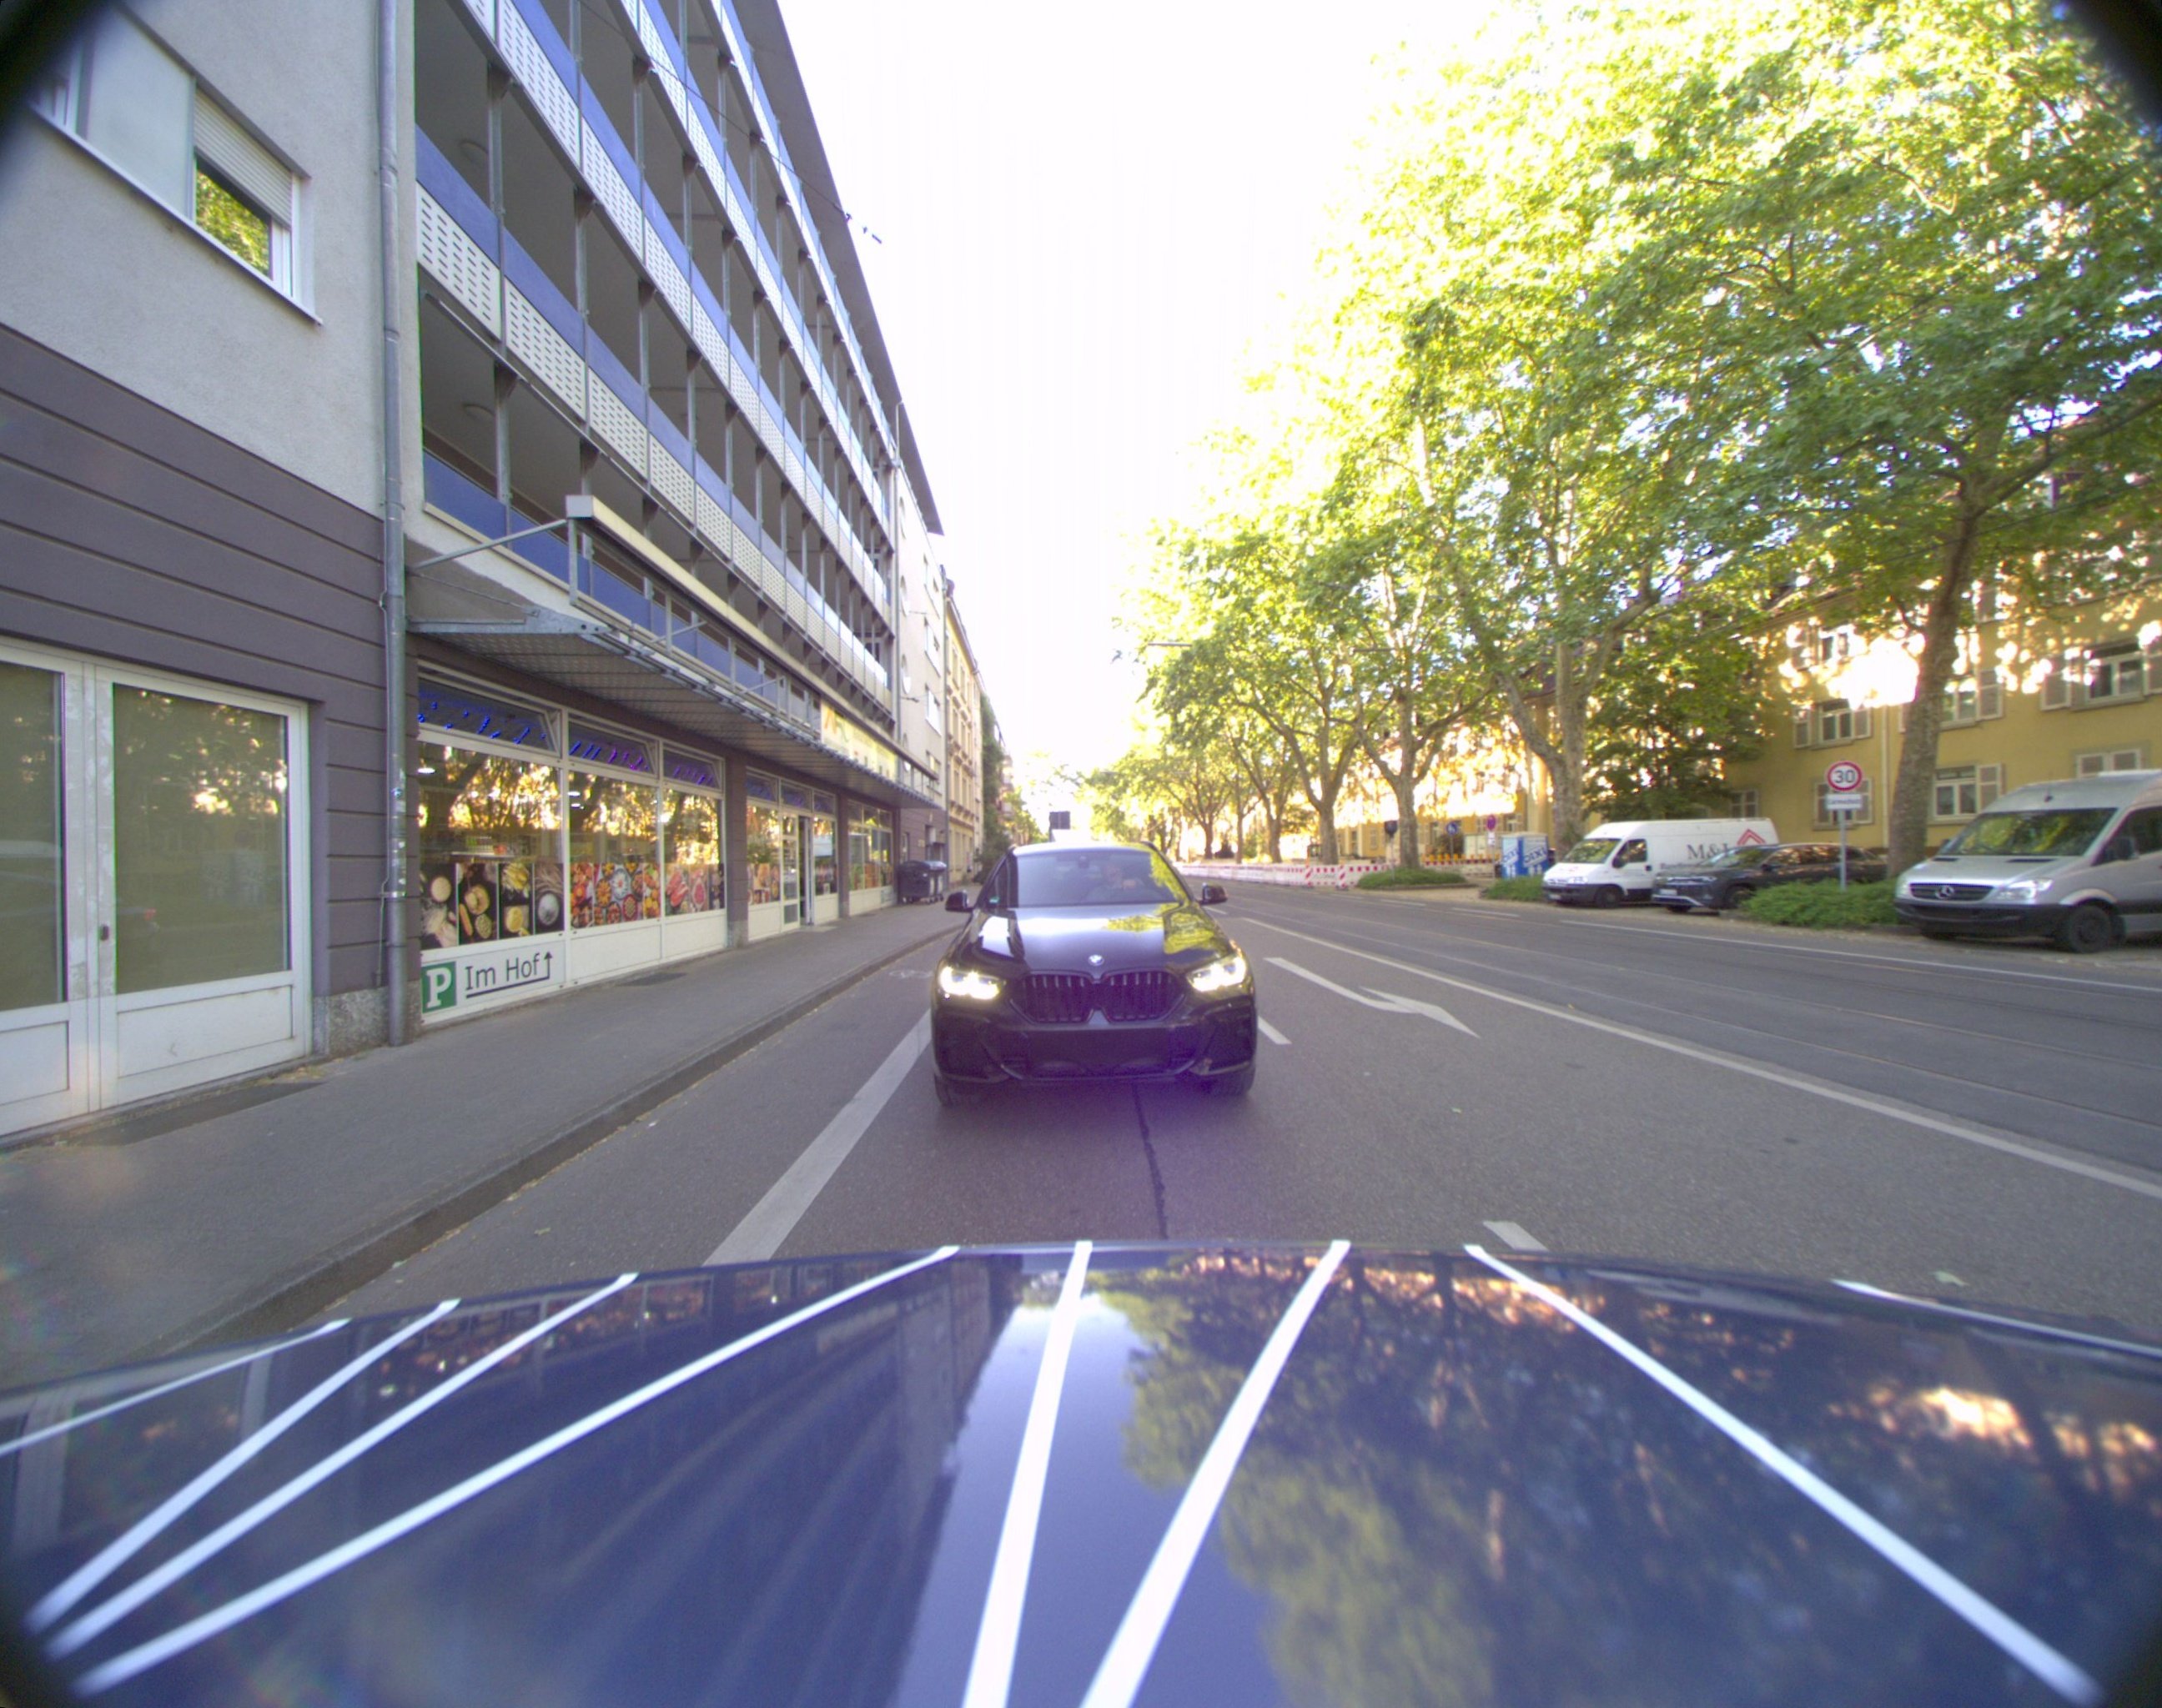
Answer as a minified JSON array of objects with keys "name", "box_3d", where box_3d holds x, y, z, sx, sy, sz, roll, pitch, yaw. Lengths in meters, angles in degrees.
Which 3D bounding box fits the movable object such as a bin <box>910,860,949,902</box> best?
[{"name":"movable object such as a bin","box_3d":[-5.297,0.946,26.683,1.158,1.418,0.939,-1,0,1]}]

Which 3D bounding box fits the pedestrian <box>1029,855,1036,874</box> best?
[{"name":"pedestrian","box_3d":[-4.720,1.018,73.680,0.600,1.875,0.581,-2,1,-1]}]

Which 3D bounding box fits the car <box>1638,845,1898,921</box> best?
[{"name":"car","box_3d":[16.077,0.652,17.940,4.627,1.642,1.774,-1,0,-2]}]

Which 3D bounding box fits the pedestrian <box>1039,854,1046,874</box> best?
[{"name":"pedestrian","box_3d":[-3.715,0.987,72.996,0.600,1.875,0.581,-2,1,-1]}]

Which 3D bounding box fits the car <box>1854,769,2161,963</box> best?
[{"name":"car","box_3d":[15.984,0.123,11.857,5.666,2.666,2.223,-2,0,-2]}]

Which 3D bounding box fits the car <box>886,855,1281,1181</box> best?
[{"name":"car","box_3d":[0.043,0.852,6.040,1.998,1.643,4.295,-1,0,1]}]

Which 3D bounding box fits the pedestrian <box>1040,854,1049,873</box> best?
[{"name":"pedestrian","box_3d":[-3.629,0.950,75.648,0.733,1.875,0.664,-2,1,-1]}]

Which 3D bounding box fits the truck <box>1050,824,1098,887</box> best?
[{"name":"truck","box_3d":[-0.317,0.112,42.121,2.394,3.170,6.587,-1,0,1]}]

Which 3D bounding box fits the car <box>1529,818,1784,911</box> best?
[{"name":"car","box_3d":[15.844,0.284,21.147,5.404,2.362,2.223,-1,0,0]}]

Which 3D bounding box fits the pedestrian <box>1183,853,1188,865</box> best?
[{"name":"pedestrian","box_3d":[16.320,0.762,118.646,0.732,1.875,0.665,-2,1,5]}]

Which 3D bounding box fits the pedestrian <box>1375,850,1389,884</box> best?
[{"name":"pedestrian","box_3d":[15.672,0.652,39.619,0.582,1.735,0.653,-2,1,18]}]

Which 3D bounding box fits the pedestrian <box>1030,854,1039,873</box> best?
[{"name":"pedestrian","box_3d":[-4.615,0.969,75.603,0.733,1.875,0.664,-2,1,-1]}]

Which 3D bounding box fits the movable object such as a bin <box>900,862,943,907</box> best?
[{"name":"movable object such as a bin","box_3d":[-5.158,0.975,24.645,1.158,1.418,0.939,-1,0,1]}]
